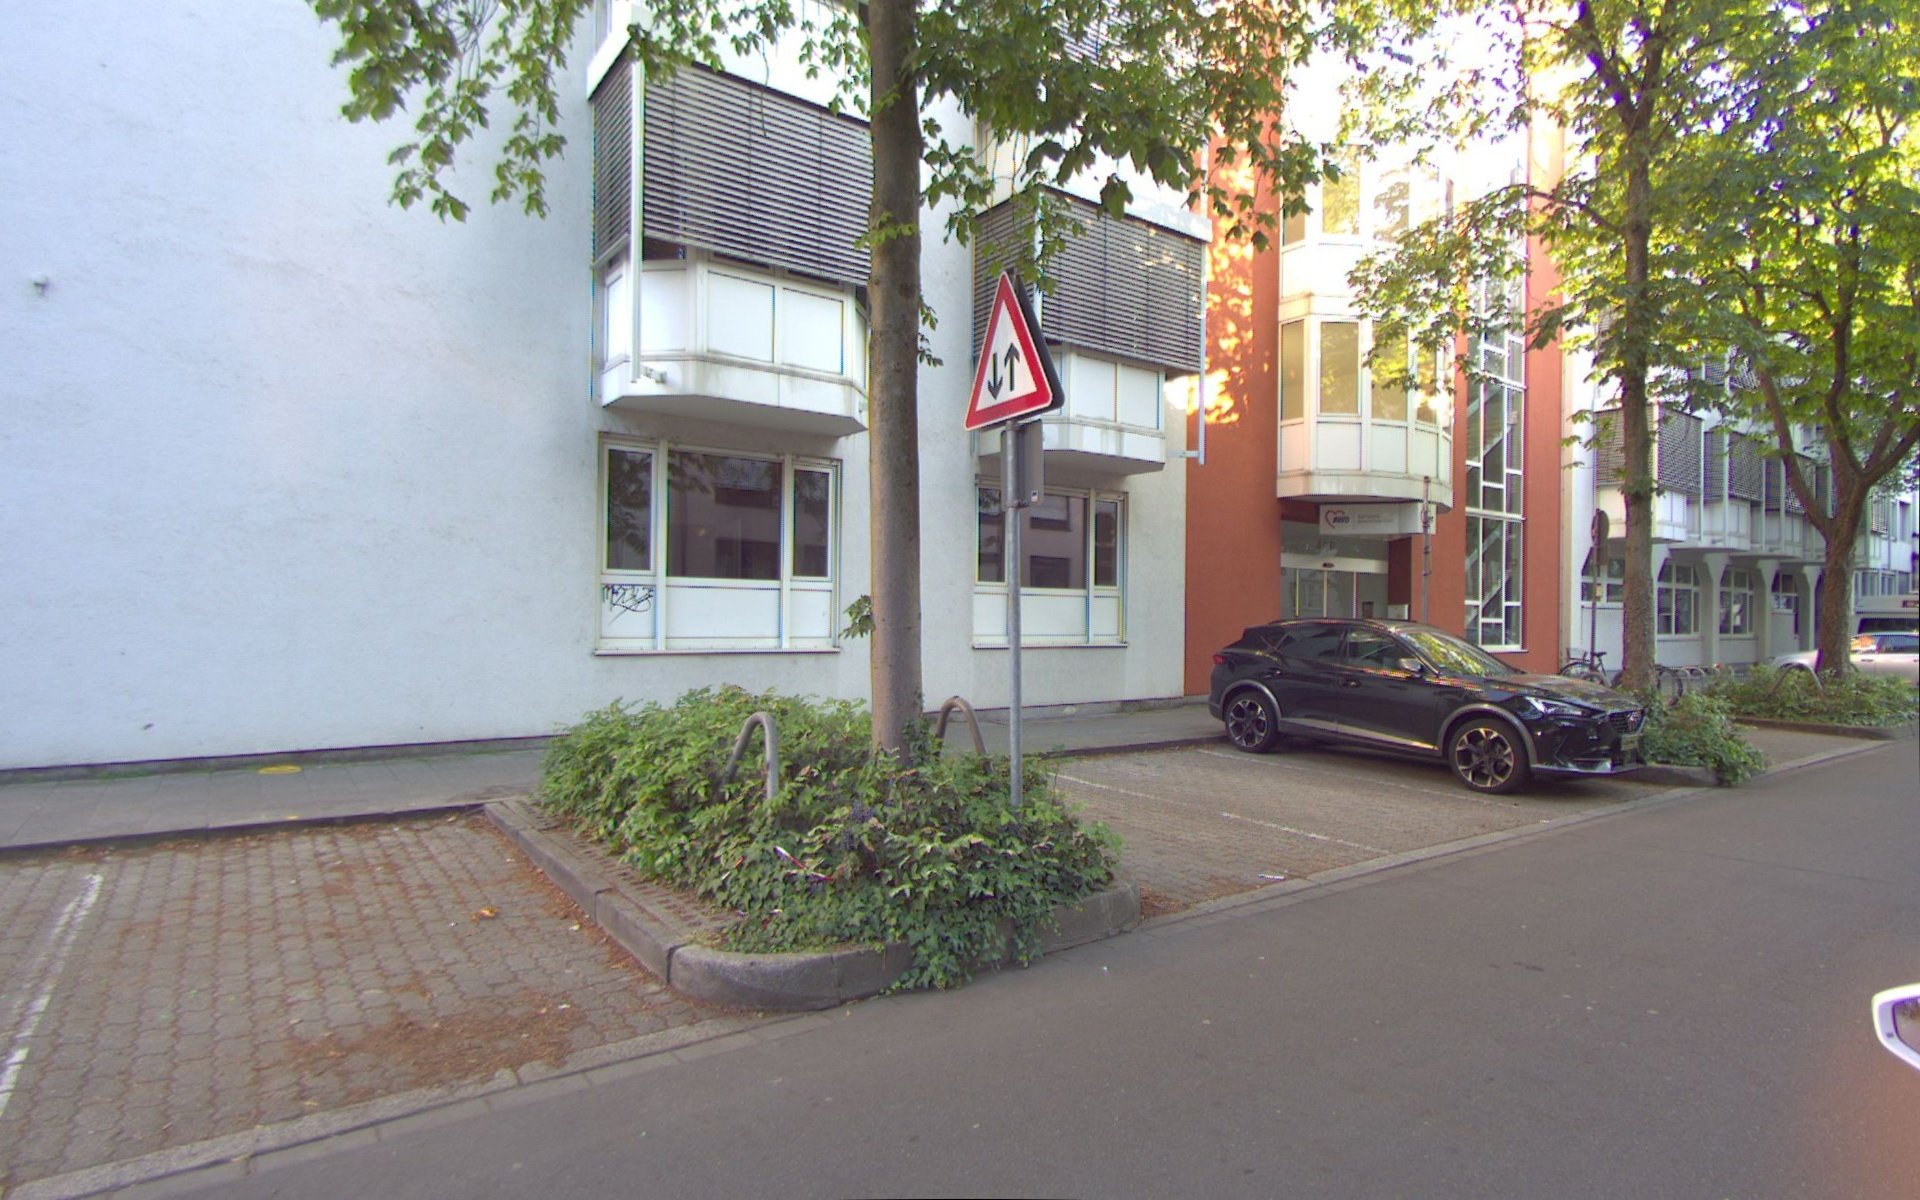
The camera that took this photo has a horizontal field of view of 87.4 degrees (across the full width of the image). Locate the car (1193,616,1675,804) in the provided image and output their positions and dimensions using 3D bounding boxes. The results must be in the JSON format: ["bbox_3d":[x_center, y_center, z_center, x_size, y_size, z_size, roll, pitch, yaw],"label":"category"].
[{"bbox_3d":[4.711,0.959,10.615,1.768,1.537,4.325,1,-1,-35],"label":"car"}]

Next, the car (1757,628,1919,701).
[{"bbox_3d":[21.155,1.455,23.242,1.767,1.537,3.942,1,-1,-35],"label":"car"}]

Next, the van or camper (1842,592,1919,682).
[{"bbox_3d":[27.895,1.040,28.044,1.981,2.511,4.632,1,-1,-36],"label":"van or camper"}]
